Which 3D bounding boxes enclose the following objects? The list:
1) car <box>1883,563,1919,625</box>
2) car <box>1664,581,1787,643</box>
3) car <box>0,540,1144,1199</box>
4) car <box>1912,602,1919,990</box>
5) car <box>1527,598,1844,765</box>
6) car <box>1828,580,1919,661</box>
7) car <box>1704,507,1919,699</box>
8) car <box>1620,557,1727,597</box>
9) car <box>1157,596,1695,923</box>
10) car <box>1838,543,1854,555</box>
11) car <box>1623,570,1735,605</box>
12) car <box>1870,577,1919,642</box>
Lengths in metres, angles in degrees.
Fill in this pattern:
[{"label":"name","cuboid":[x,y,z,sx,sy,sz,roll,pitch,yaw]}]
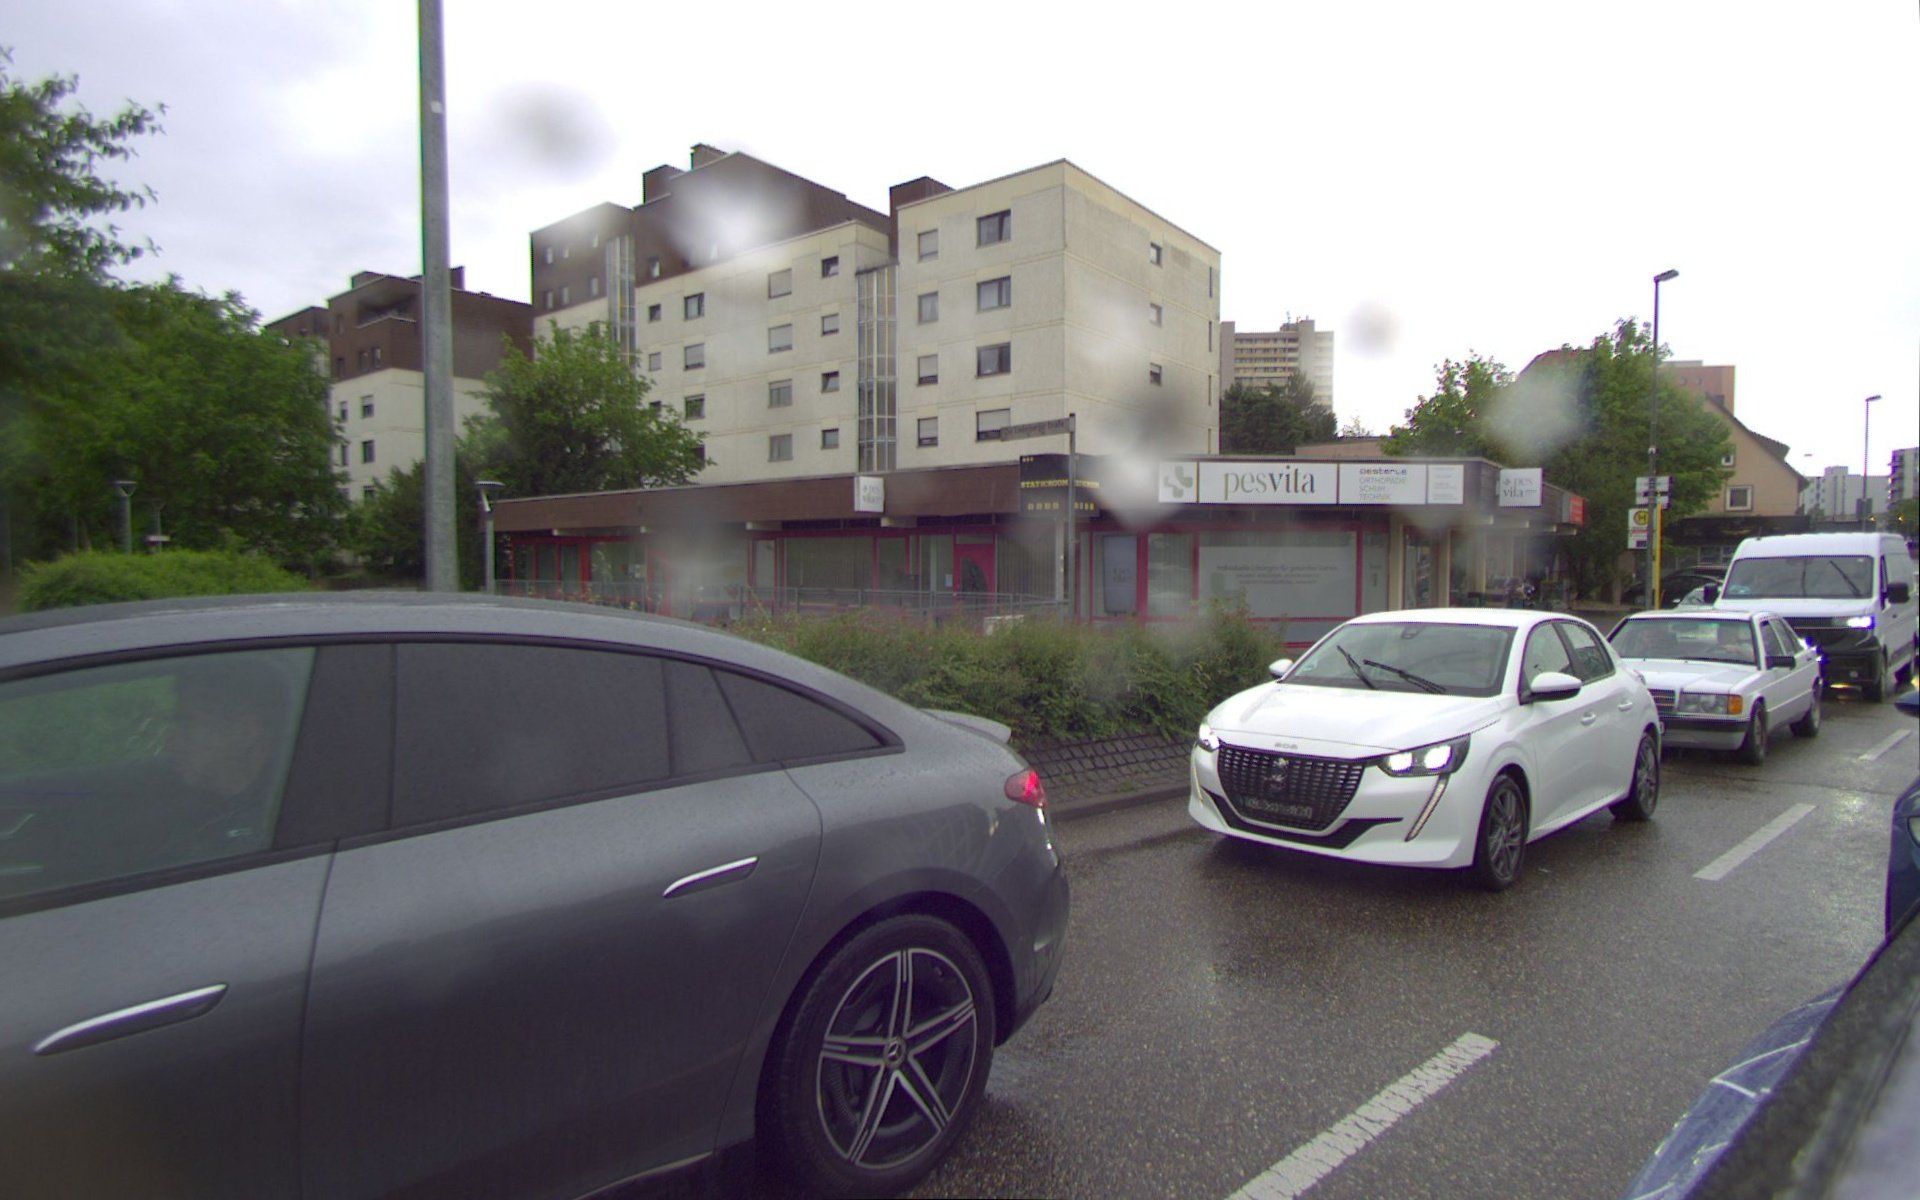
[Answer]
[{"label":"car","cuboid":[32.916,-0.228,34.223,3.930,2.038,1.998,-1,3,-40]},{"label":"car","cuboid":[20.147,0.253,26.578,3.930,1.509,1.787,-1,1,-41]},{"label":"car","cuboid":[-1.799,0.663,2.267,4.724,1.485,1.840,0,-1,-41]},{"label":"car","cuboid":[5.481,0.705,4.418,3.933,1.406,1.690,-1,1,-43]},{"label":"car","cuboid":[7.684,0.687,10.574,4.089,1.362,1.787,-1,1,-41]},{"label":"car","cuboid":[20.002,0.368,21.504,3.930,1.558,1.802,-1,2,-41]},{"label":"car","cuboid":[13.987,-0.044,16.309,6.021,2.549,2.194,-2,2,-43]},{"label":"car","cuboid":[33.352,-1.088,47.377,3.981,1.801,1.858,2,2,39]},{"label":"car","cuboid":[3.200,0.713,6.547,4.043,1.433,1.665,-1,1,-41]},{"label":"car","cuboid":[139.512,-8.022,159.411,1.657,1.654,3.754,1,1,37]},{"label":"car","cuboid":[32.081,-0.593,45.213,3.981,1.445,1.858,2,2,39]},{"label":"car","cuboid":[25.169,0.202,26.253,3.933,1.588,1.996,-2,1,-43]}]
